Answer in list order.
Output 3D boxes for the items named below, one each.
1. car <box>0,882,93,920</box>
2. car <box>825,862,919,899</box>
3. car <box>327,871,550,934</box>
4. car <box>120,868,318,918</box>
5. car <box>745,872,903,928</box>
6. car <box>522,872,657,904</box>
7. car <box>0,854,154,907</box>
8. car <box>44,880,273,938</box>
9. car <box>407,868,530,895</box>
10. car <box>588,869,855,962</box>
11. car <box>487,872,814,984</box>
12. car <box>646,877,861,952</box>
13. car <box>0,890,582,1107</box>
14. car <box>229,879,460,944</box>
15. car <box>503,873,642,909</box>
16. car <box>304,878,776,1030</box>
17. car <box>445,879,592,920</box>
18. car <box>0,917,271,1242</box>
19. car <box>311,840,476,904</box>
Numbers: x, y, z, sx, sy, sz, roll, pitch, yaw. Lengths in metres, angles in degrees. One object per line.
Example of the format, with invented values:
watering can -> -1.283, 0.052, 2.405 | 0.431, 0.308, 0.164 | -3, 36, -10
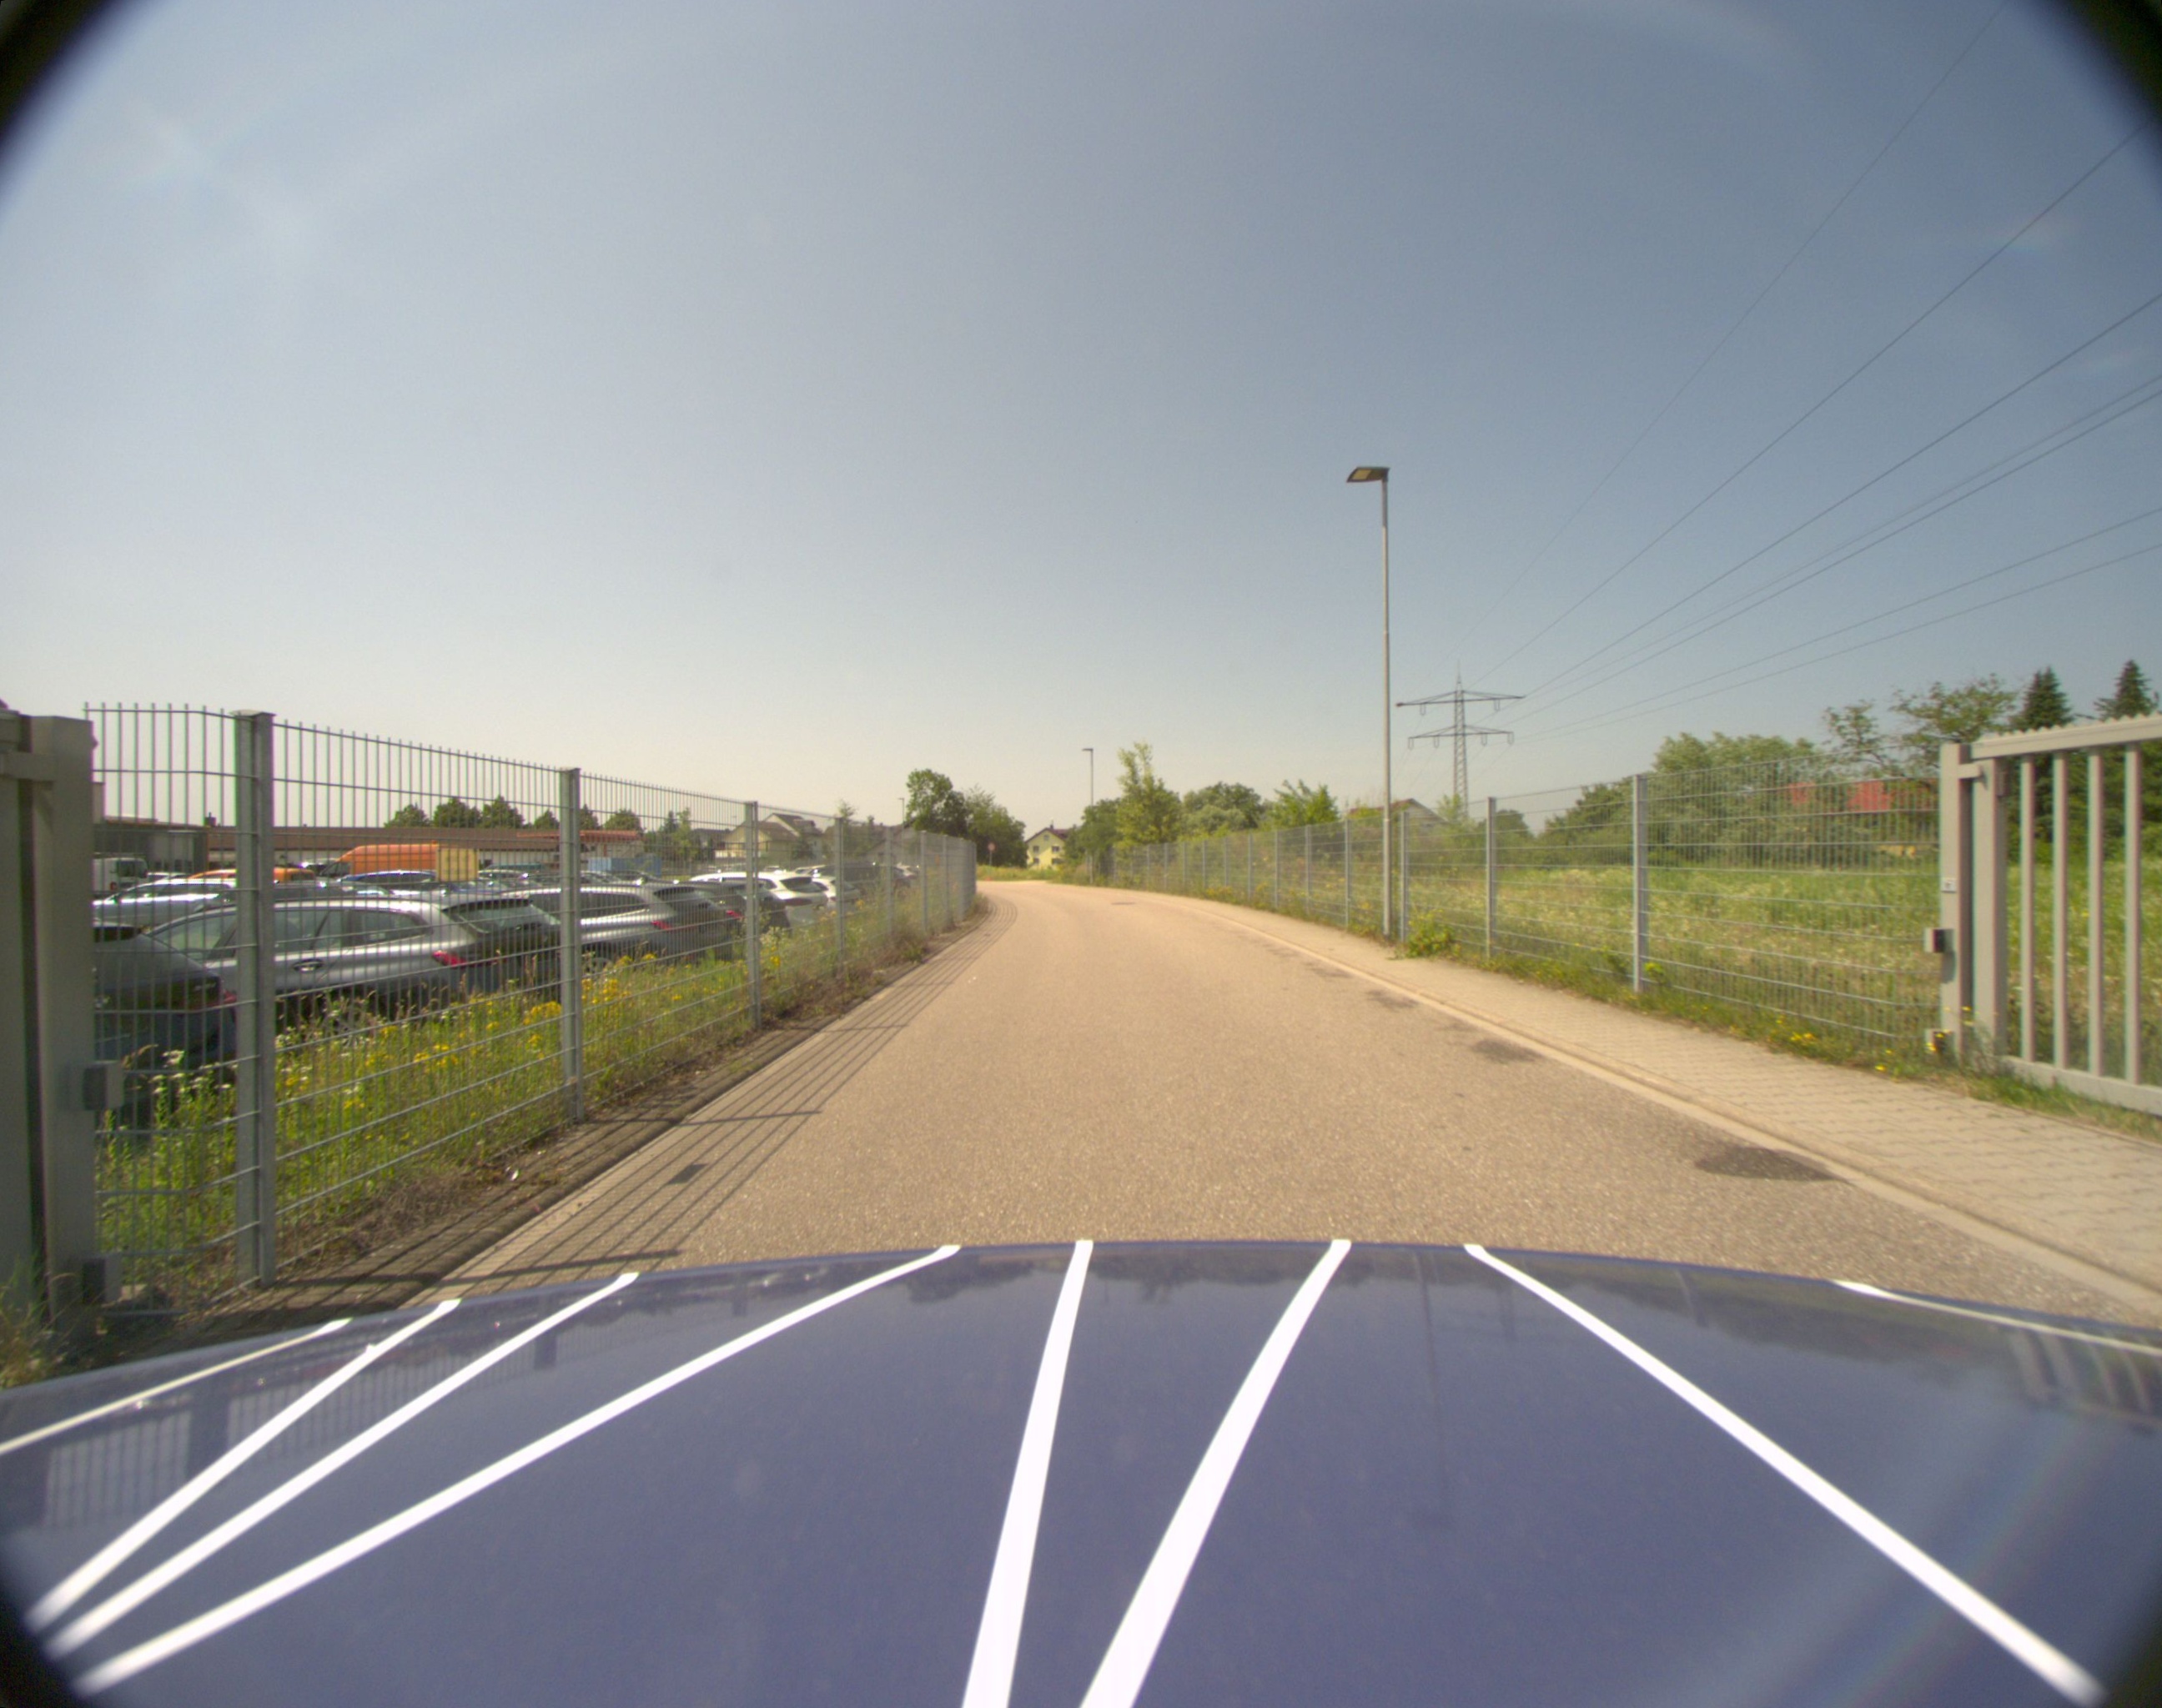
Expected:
car -> -41.562, 1.808, 29.056 | 4.392, 1.369, 1.840 | 0, -1, -15
car -> -9.761, 1.208, 35.590 | 4.138, 1.660, 1.721 | 0, -1, -17
car -> -18.049, 1.318, 21.568 | 4.477, 1.639, 1.876 | 0, -1, -11
car -> -26.703, 1.165, 23.678 | 3.832, 1.453, 1.587 | 0, -1, -15
car -> -7.828, 1.381, 23.481 | 4.292, 1.627, 1.764 | 0, -1, -3
car -> -22.042, 1.507, 34.273 | 4.763, 1.344, 1.819 | 0, -1, -15
car -> -42.508, 1.077, 31.772 | 4.393, 2.159, 1.971 | 0, -1, -18
car -> -25.489, 1.490, 21.146 | 3.832, 1.453, 1.587 | 0, -1, -15
car -> -30.346, 1.352, 37.799 | 4.392, 1.262, 1.819 | 0, -1, -15
car -> -6.816, 1.143, 14.707 | 4.219, 1.398, 1.839 | -4, 1, 4
car -> -6.821, 1.140, 12.347 | 4.219, 1.398, 1.839 | -4, 1, 4
car -> -7.656, 1.397, 18.002 | 4.219, 1.398, 1.839 | -4, 1, 4
car -> -7.228, 1.197, 6.698 | 4.520, 1.398, 1.638 | -4, 1, 2
car -> -17.952, 1.357, 18.725 | 3.775, 1.428, 1.610 | 0, -1, -15
car -> -21.339, 1.536, 32.072 | 4.579, 1.424, 1.660 | 0, -1, -15
car -> -6.527, 1.163, 9.613 | 4.521, 1.398, 1.838 | -3, 1, -2
car -> -19.402, 1.537, 26.365 | 3.775, 1.294, 1.610 | 0, -1, -15
car -> -7.251, 1.223, 3.797 | 4.520, 1.398, 1.767 | -4, 1, 2
car -> -28.707, 0.725, 31.912 | 4.749, 2.569, 1.978 | 0, -1, -15
